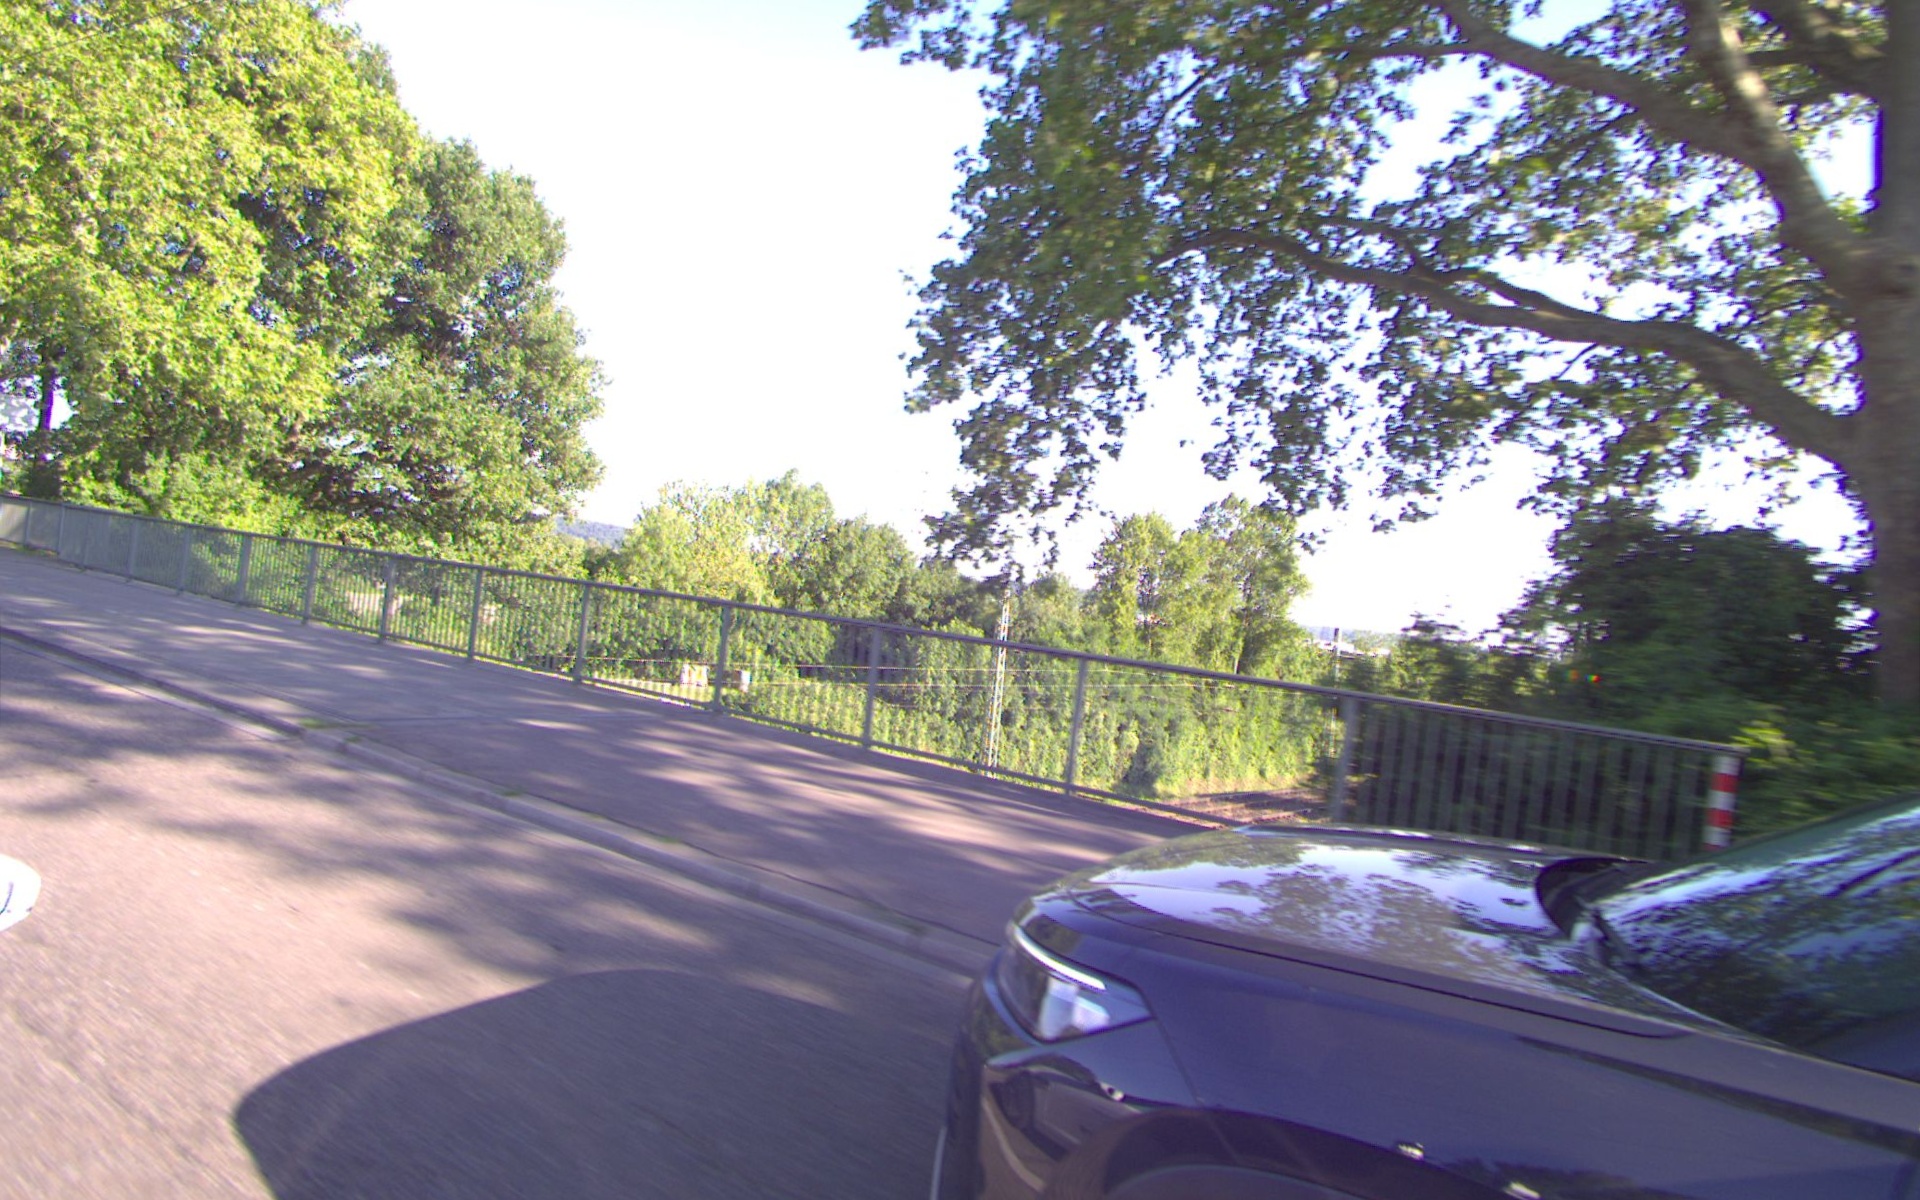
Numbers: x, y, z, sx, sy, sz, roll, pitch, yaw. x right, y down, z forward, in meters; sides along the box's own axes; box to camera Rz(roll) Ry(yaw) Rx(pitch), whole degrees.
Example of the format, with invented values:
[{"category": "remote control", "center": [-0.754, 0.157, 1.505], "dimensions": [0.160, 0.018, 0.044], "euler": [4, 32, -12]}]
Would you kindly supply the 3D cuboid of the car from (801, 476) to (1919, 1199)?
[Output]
[{"category": "car", "center": [2.097, 0.923, 1.382], "dimensions": [4.365, 1.681, 1.847], "euler": [7, 0, 31]}]
